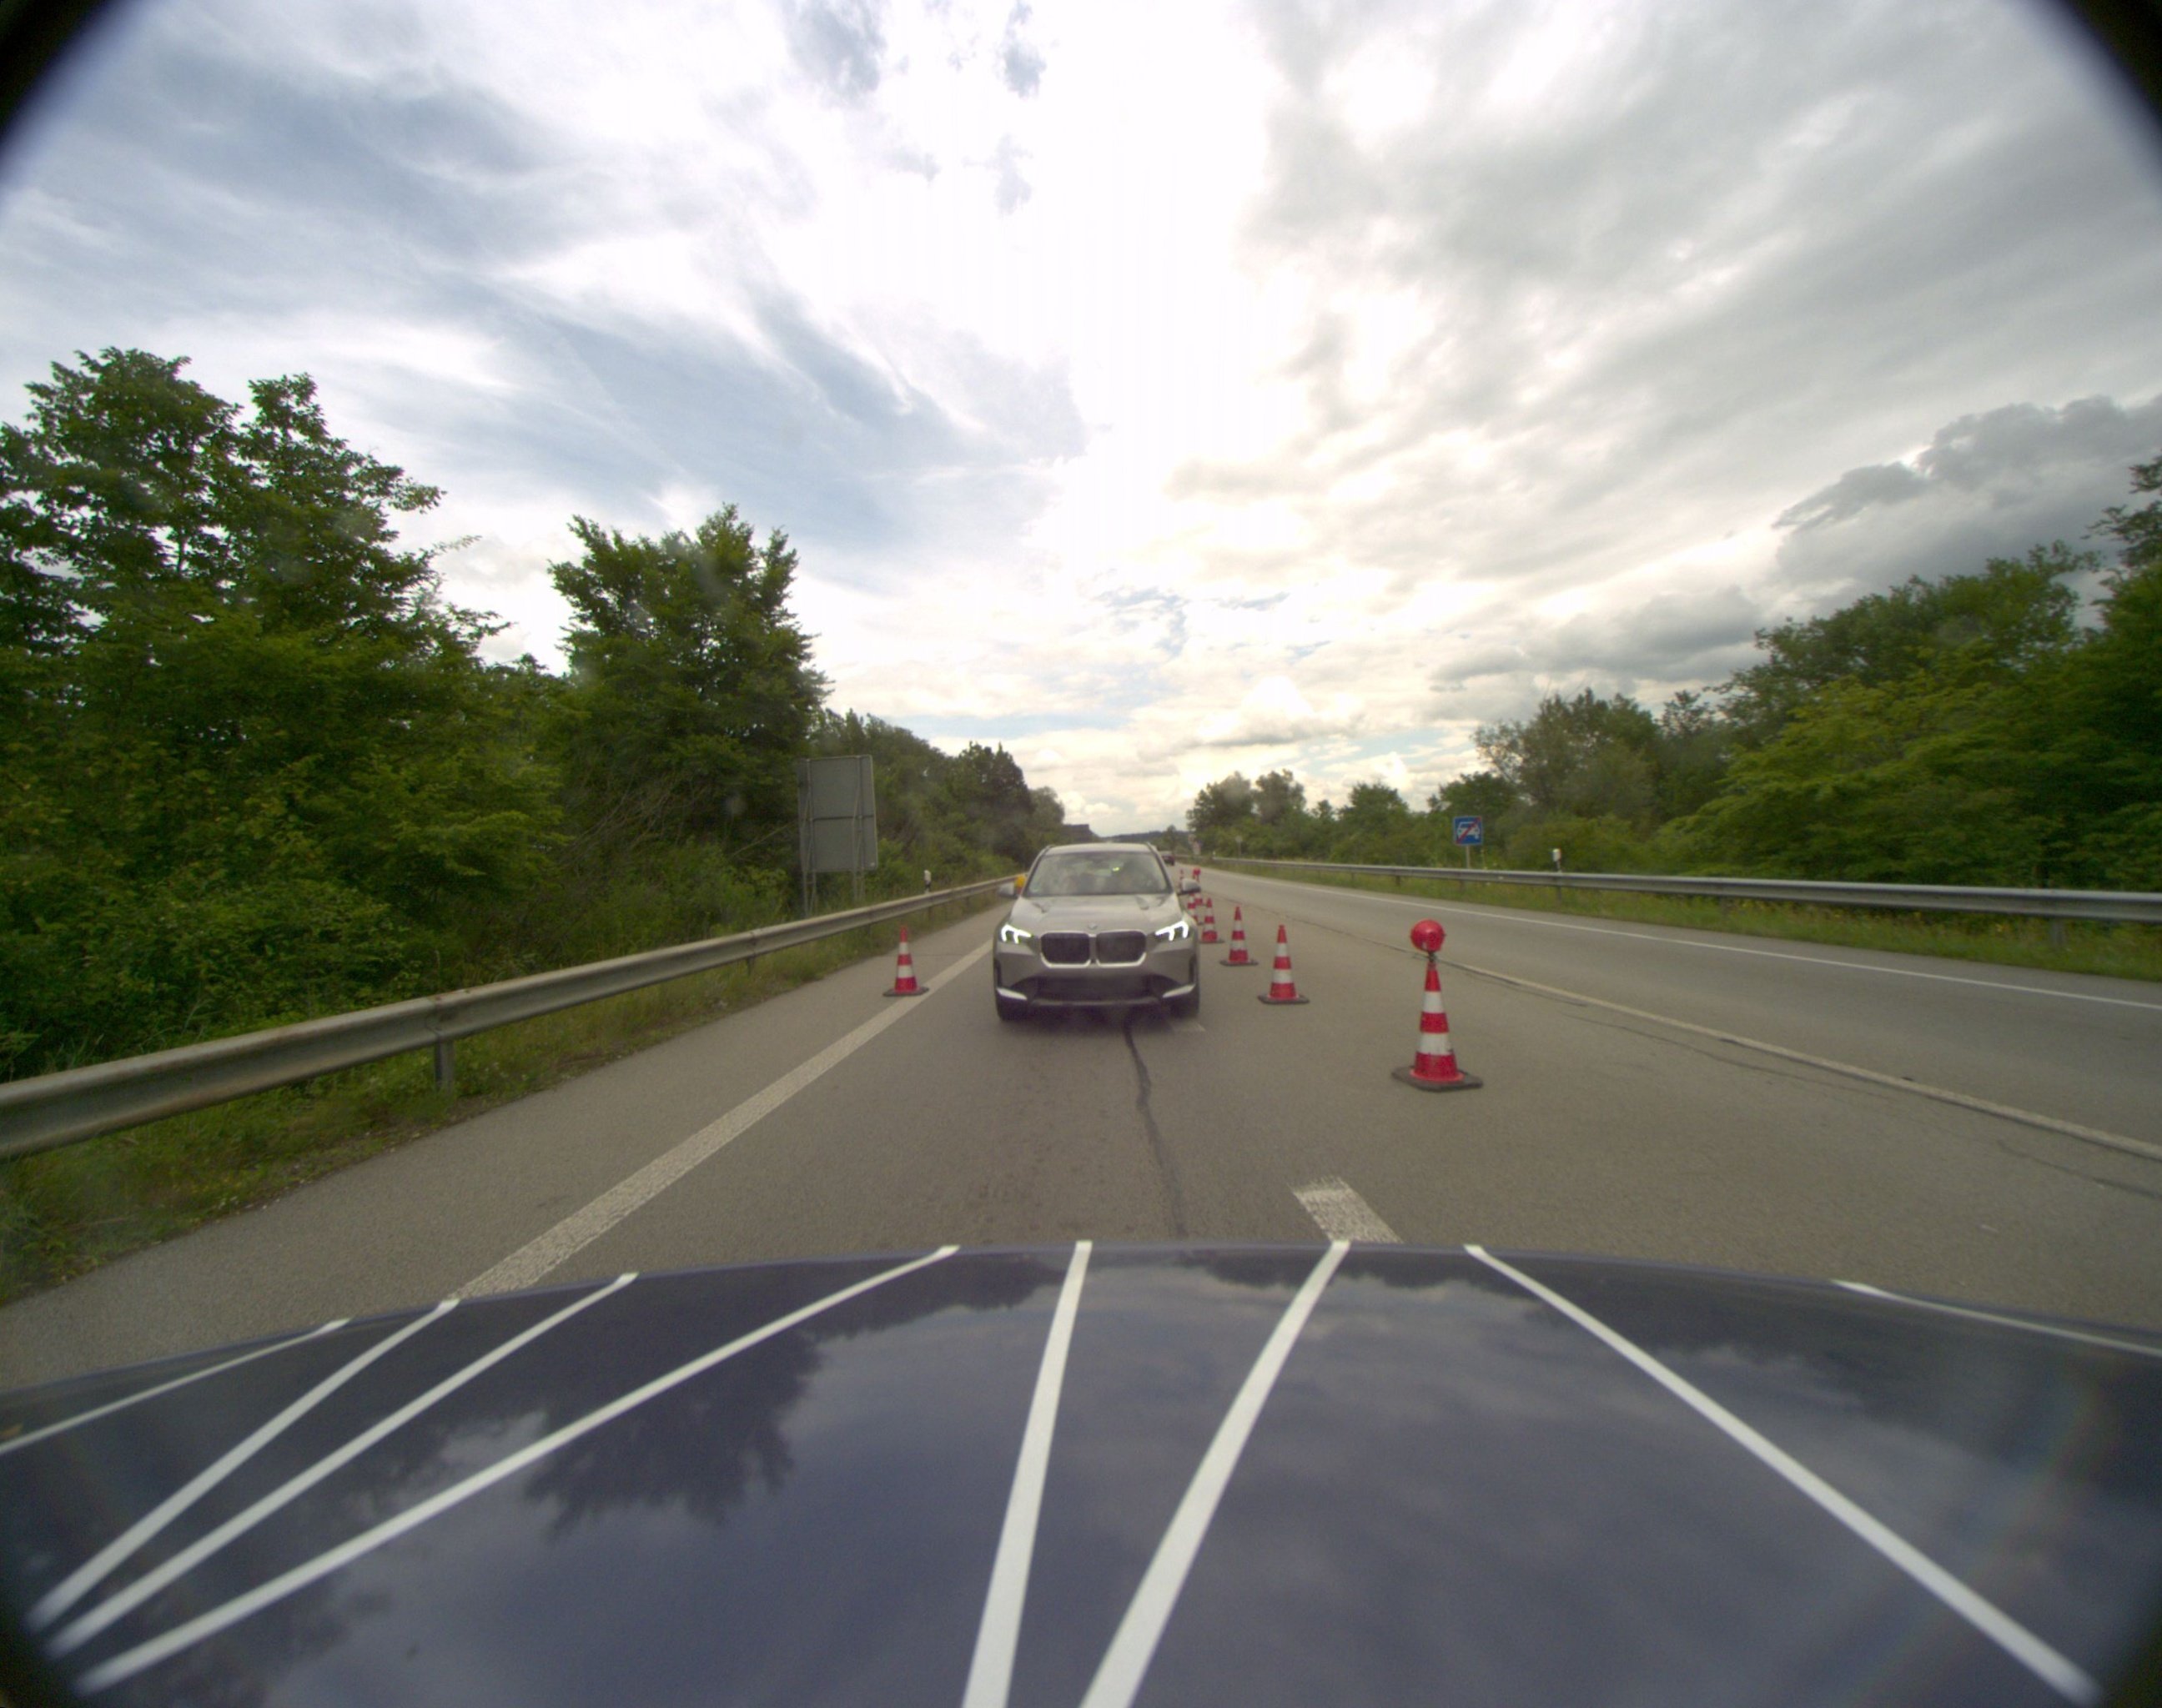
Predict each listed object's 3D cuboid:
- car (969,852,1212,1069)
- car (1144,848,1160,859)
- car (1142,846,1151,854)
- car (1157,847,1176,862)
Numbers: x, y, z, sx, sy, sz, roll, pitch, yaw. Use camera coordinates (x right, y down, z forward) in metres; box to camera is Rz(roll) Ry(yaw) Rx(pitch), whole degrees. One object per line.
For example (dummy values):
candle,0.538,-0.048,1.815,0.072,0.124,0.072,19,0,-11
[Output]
car,0.199,0.823,8.047,1.817,1.598,4.434,-2,0,3
car,9.433,-0.094,101.443,1.683,1.394,4.373,-2,0,-1
car,16.537,-0.993,191.008,2.034,1.976,5.316,-2,0,3
car,8.599,-0.007,76.877,1.712,1.428,4.337,-2,0,4
